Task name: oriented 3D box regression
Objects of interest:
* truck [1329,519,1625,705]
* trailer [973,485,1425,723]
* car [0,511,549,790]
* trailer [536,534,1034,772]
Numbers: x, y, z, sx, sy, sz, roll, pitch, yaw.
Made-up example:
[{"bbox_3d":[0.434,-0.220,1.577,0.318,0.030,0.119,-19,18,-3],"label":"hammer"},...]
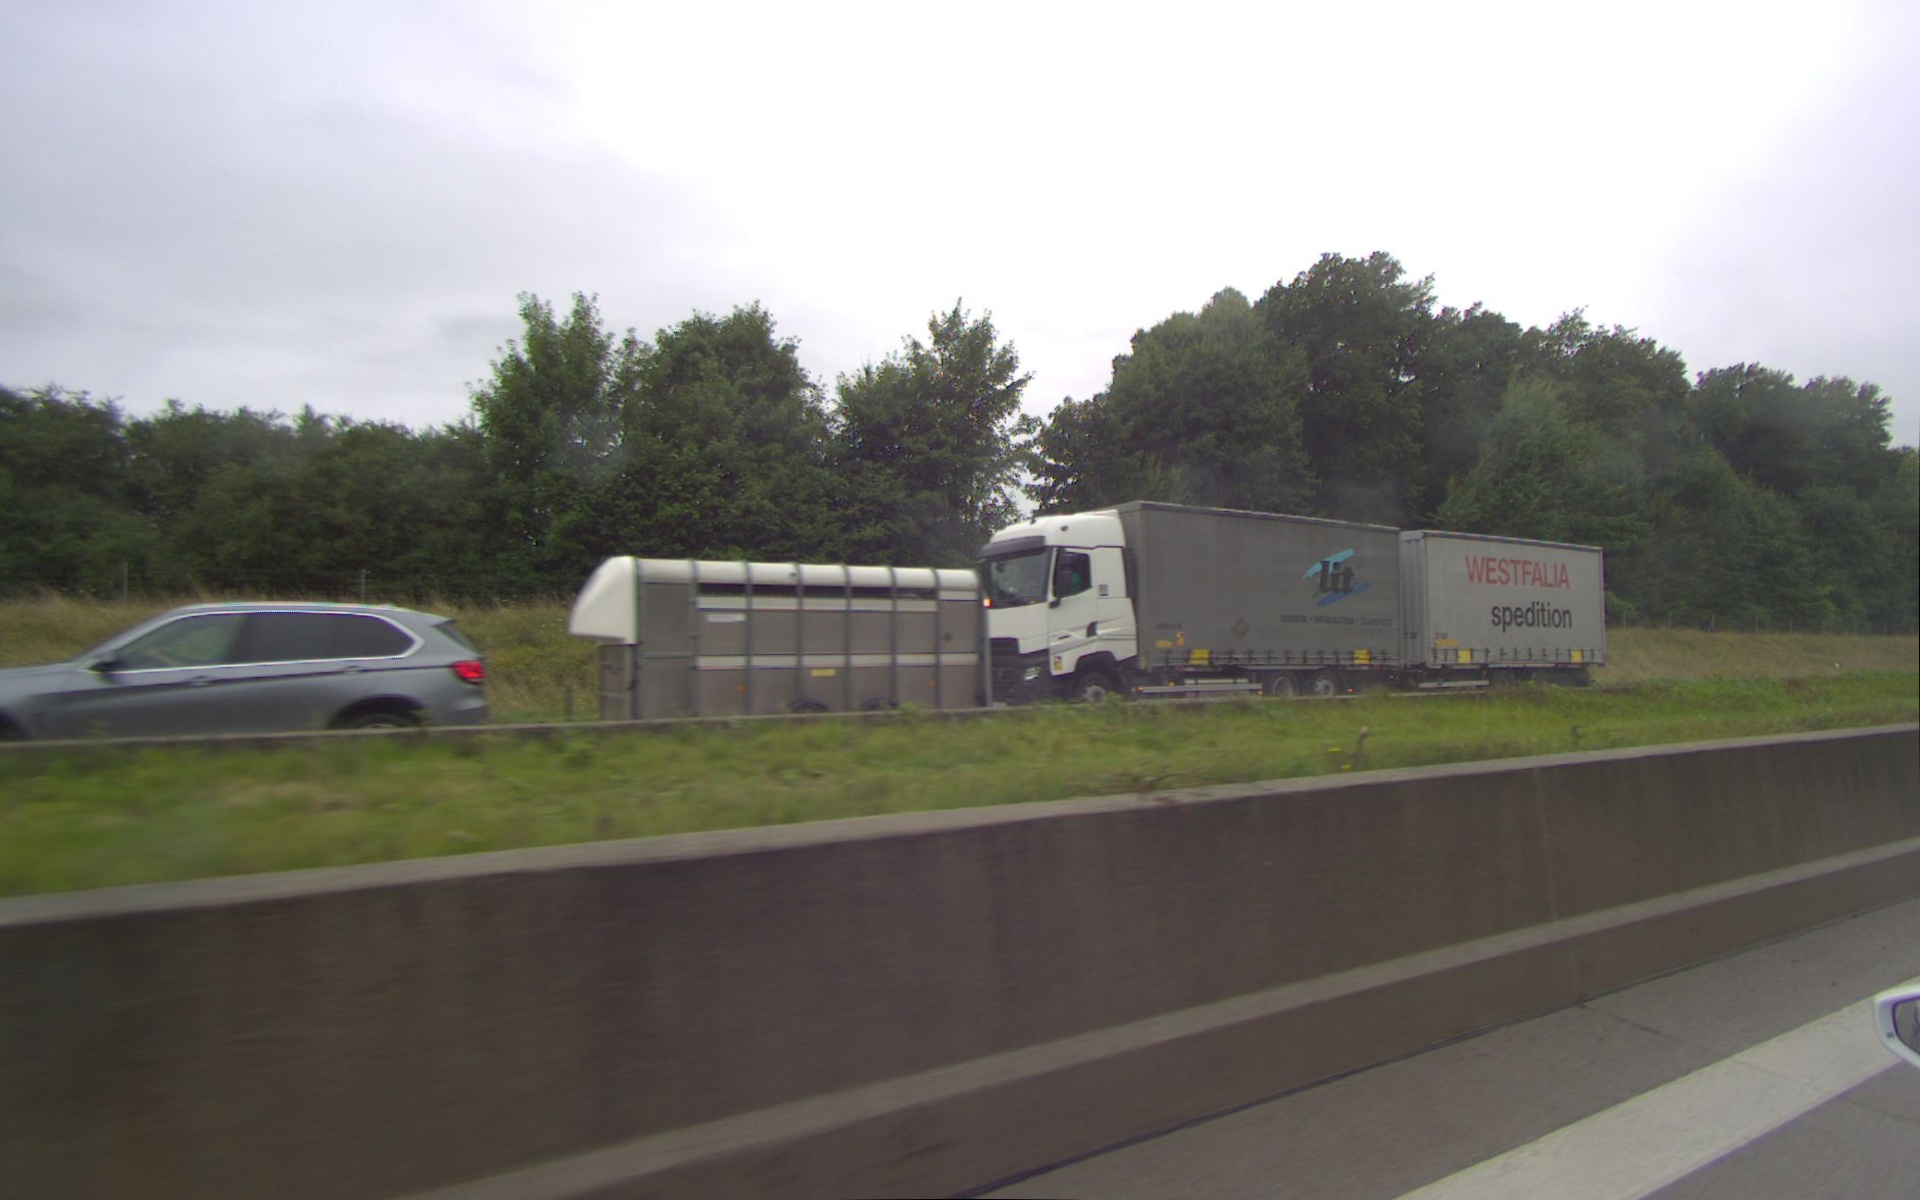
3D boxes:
[{"bbox_3d":[13.454,0.426,25.884,8.492,4.194,2.573,1,-4,-31],"label":"truck"},{"bbox_3d":[5.316,0.210,21.044,10.253,4.099,2.575,1,-3,-31],"label":"trailer"},{"bbox_3d":[-6.819,0.454,9.582,5.146,2.209,1.984,1,-2,-31],"label":"car"},{"bbox_3d":[-2.023,0.617,12.477,5.766,2.404,2.029,1,-2,-31],"label":"trailer"}]
